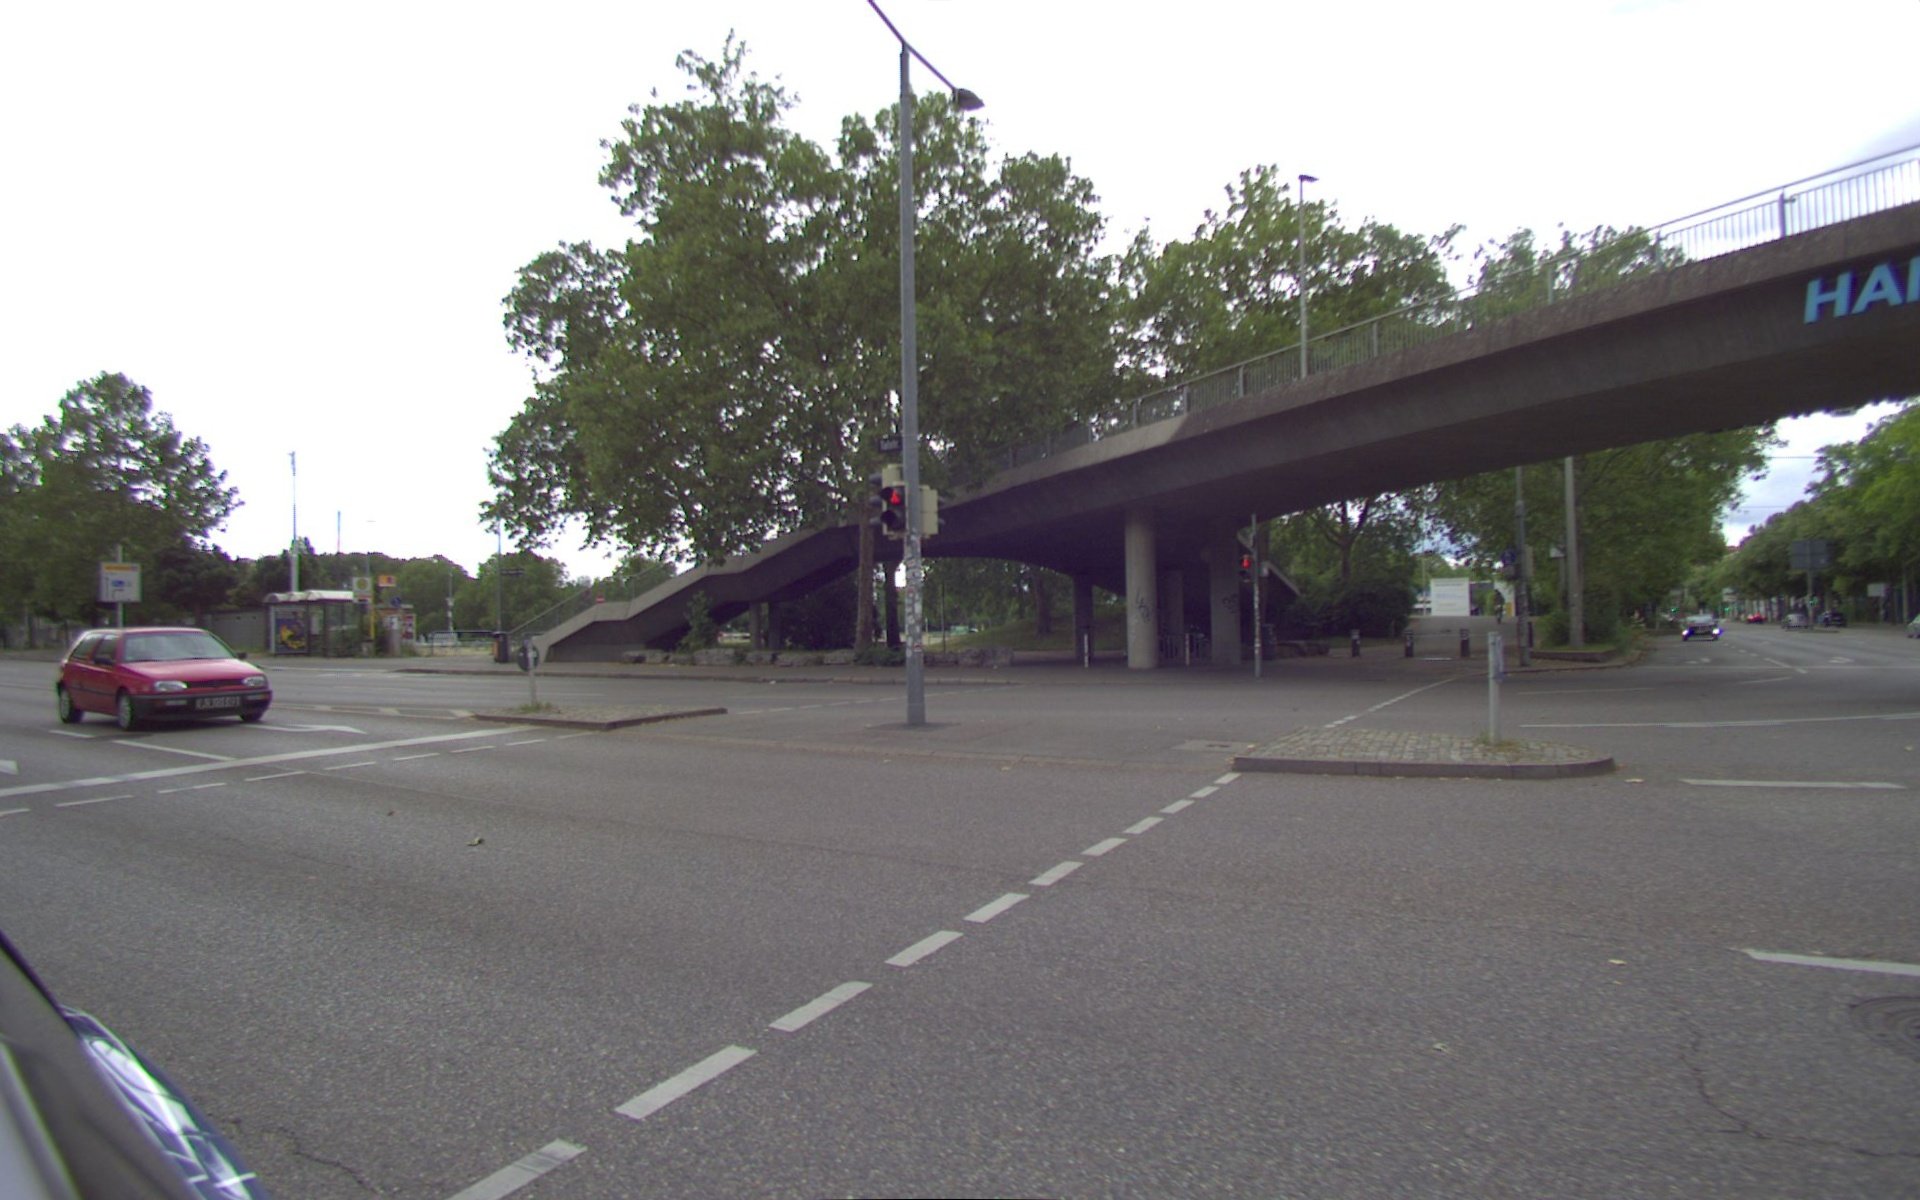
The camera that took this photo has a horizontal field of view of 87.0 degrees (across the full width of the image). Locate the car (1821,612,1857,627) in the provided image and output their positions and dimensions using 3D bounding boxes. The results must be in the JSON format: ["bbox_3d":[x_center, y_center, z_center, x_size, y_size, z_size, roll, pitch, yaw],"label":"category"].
[{"bbox_3d":[90.614,2.012,104.328,1.841,1.435,3.963,-2,-2,27],"label":"car"}]

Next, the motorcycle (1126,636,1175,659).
[{"bbox_3d":[7.173,1.792,38.158,1.735,0.858,0.641,-2,-2,39],"label":"motorcycle"}]

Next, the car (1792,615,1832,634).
[{"bbox_3d":[68.903,1.964,81.913,1.995,1.429,3.954,-2,-1,34],"label":"car"}]

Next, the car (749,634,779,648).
[{"bbox_3d":[-26.377,5.476,136.006,1.989,1.716,3.953,-1,0,26],"label":"car"}]

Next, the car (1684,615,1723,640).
[{"bbox_3d":[44.919,1.652,61.173,1.759,1.331,3.673,-1,0,35],"label":"car"}]

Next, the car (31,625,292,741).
[{"bbox_3d":[-11.942,1.150,15.078,4.063,1.462,1.815,-2,-1,32],"label":"car"}]

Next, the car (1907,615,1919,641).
[{"bbox_3d":[55.474,1.582,57.378,1.995,1.429,3.953,-2,-1,34],"label":"car"}]

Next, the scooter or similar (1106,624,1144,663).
[{"bbox_3d":[5.786,1.526,35.493,1.224,1.328,0.412,1,-1,33],"label":"scooter or similar"}]

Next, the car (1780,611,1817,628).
[{"bbox_3d":[83.638,1.930,101.004,1.990,1.672,3.963,-2,-1,27],"label":"car"}]
